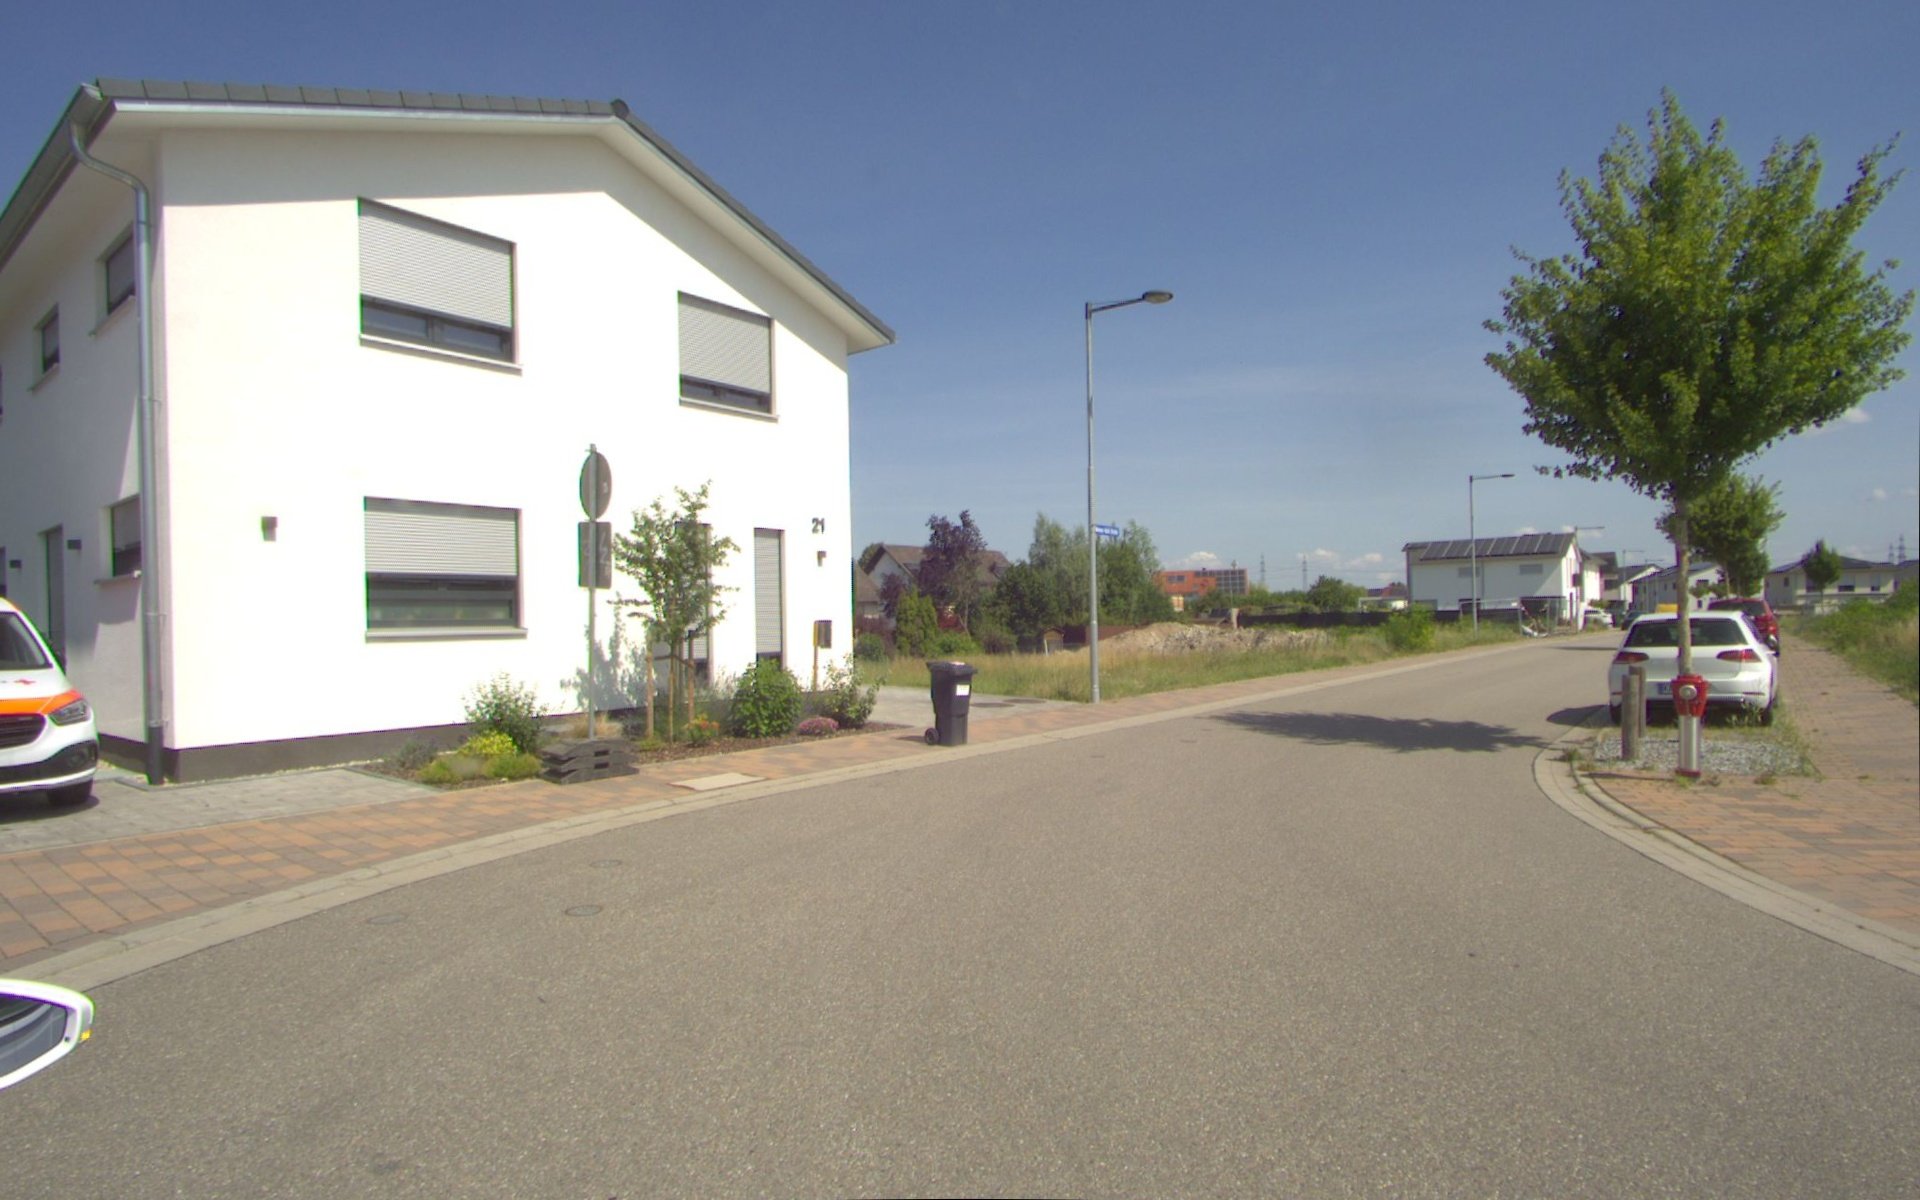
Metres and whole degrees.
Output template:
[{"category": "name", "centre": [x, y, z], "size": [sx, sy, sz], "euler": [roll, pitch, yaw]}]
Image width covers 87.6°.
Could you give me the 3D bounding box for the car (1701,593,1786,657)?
[{"category": "car", "centre": [22.675, 0.704, 29.020], "size": [1.761, 1.684, 4.402], "euler": [-3, -2, 38]}]

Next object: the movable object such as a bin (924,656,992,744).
[{"category": "movable object such as a bin", "centre": [-0.022, 1.130, 11.466], "size": [0.616, 0.960, 0.497], "euler": [-1, -1, 35]}]

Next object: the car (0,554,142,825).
[{"category": "car", "centre": [-8.696, 0.700, 8.289], "size": [4.691, 1.899, 1.926], "euler": [-2, -2, 37]}]

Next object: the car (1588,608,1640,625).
[{"category": "car", "centre": [65.549, 1.646, 100.434], "size": [4.104, 1.525, 1.810], "euler": [3, 1, 24]}]

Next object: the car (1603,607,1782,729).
[{"category": "car", "centre": [10.408, 0.871, 14.129], "size": [1.761, 1.438, 4.134], "euler": [-4, -2, 39]}]

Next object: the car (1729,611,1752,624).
[{"category": "car", "centre": [90.292, 2.067, 115.865], "size": [1.610, 1.339, 3.816], "euler": [-1, -3, 32]}]

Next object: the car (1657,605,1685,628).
[{"category": "car", "centre": [62.938, 1.478, 88.710], "size": [1.922, 2.006, 4.192], "euler": [-1, -2, 35]}]

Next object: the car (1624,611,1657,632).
[{"category": "car", "centre": [49.958, 1.550, 73.494], "size": [1.729, 1.424, 4.129], "euler": [1, 1, 38]}]
